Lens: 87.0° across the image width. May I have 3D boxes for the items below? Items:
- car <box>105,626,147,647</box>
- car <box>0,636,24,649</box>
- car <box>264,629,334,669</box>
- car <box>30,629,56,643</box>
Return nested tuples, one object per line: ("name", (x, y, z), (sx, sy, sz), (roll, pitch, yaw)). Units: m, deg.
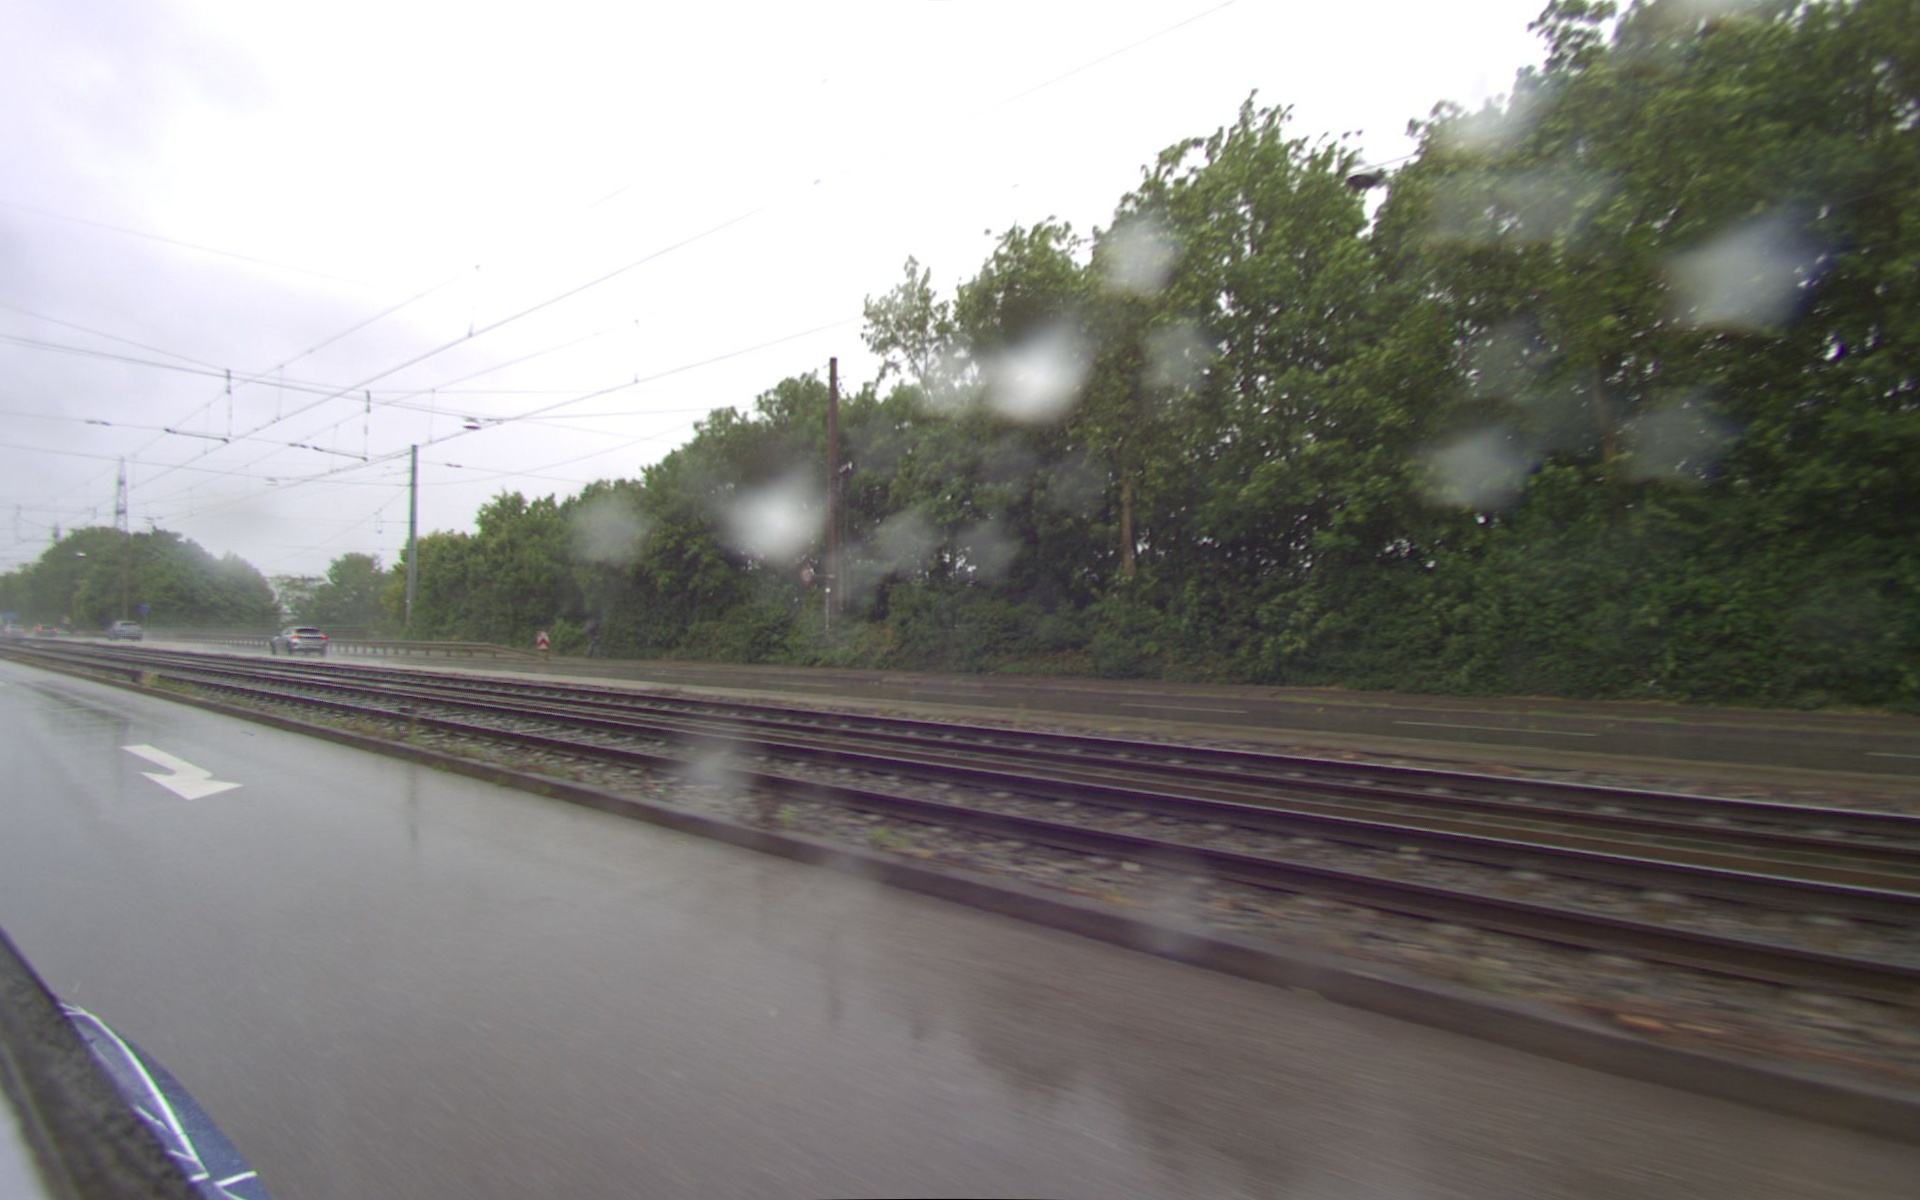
("car", (-70.242, 3.085, 85.237), (4.870, 1.685, 1.973), (-2, -2, 41))
("car", (-106.104, 4.693, 112.866), (4.850, 1.399, 1.973), (-2, -2, 41))
("car", (-34.254, 2.510, 52.403), (3.998, 1.796, 1.973), (-2, 2, 42))
("car", (-107.741, 4.240, 118.910), (4.384, 1.586, 1.821), (-1, -2, 42))
